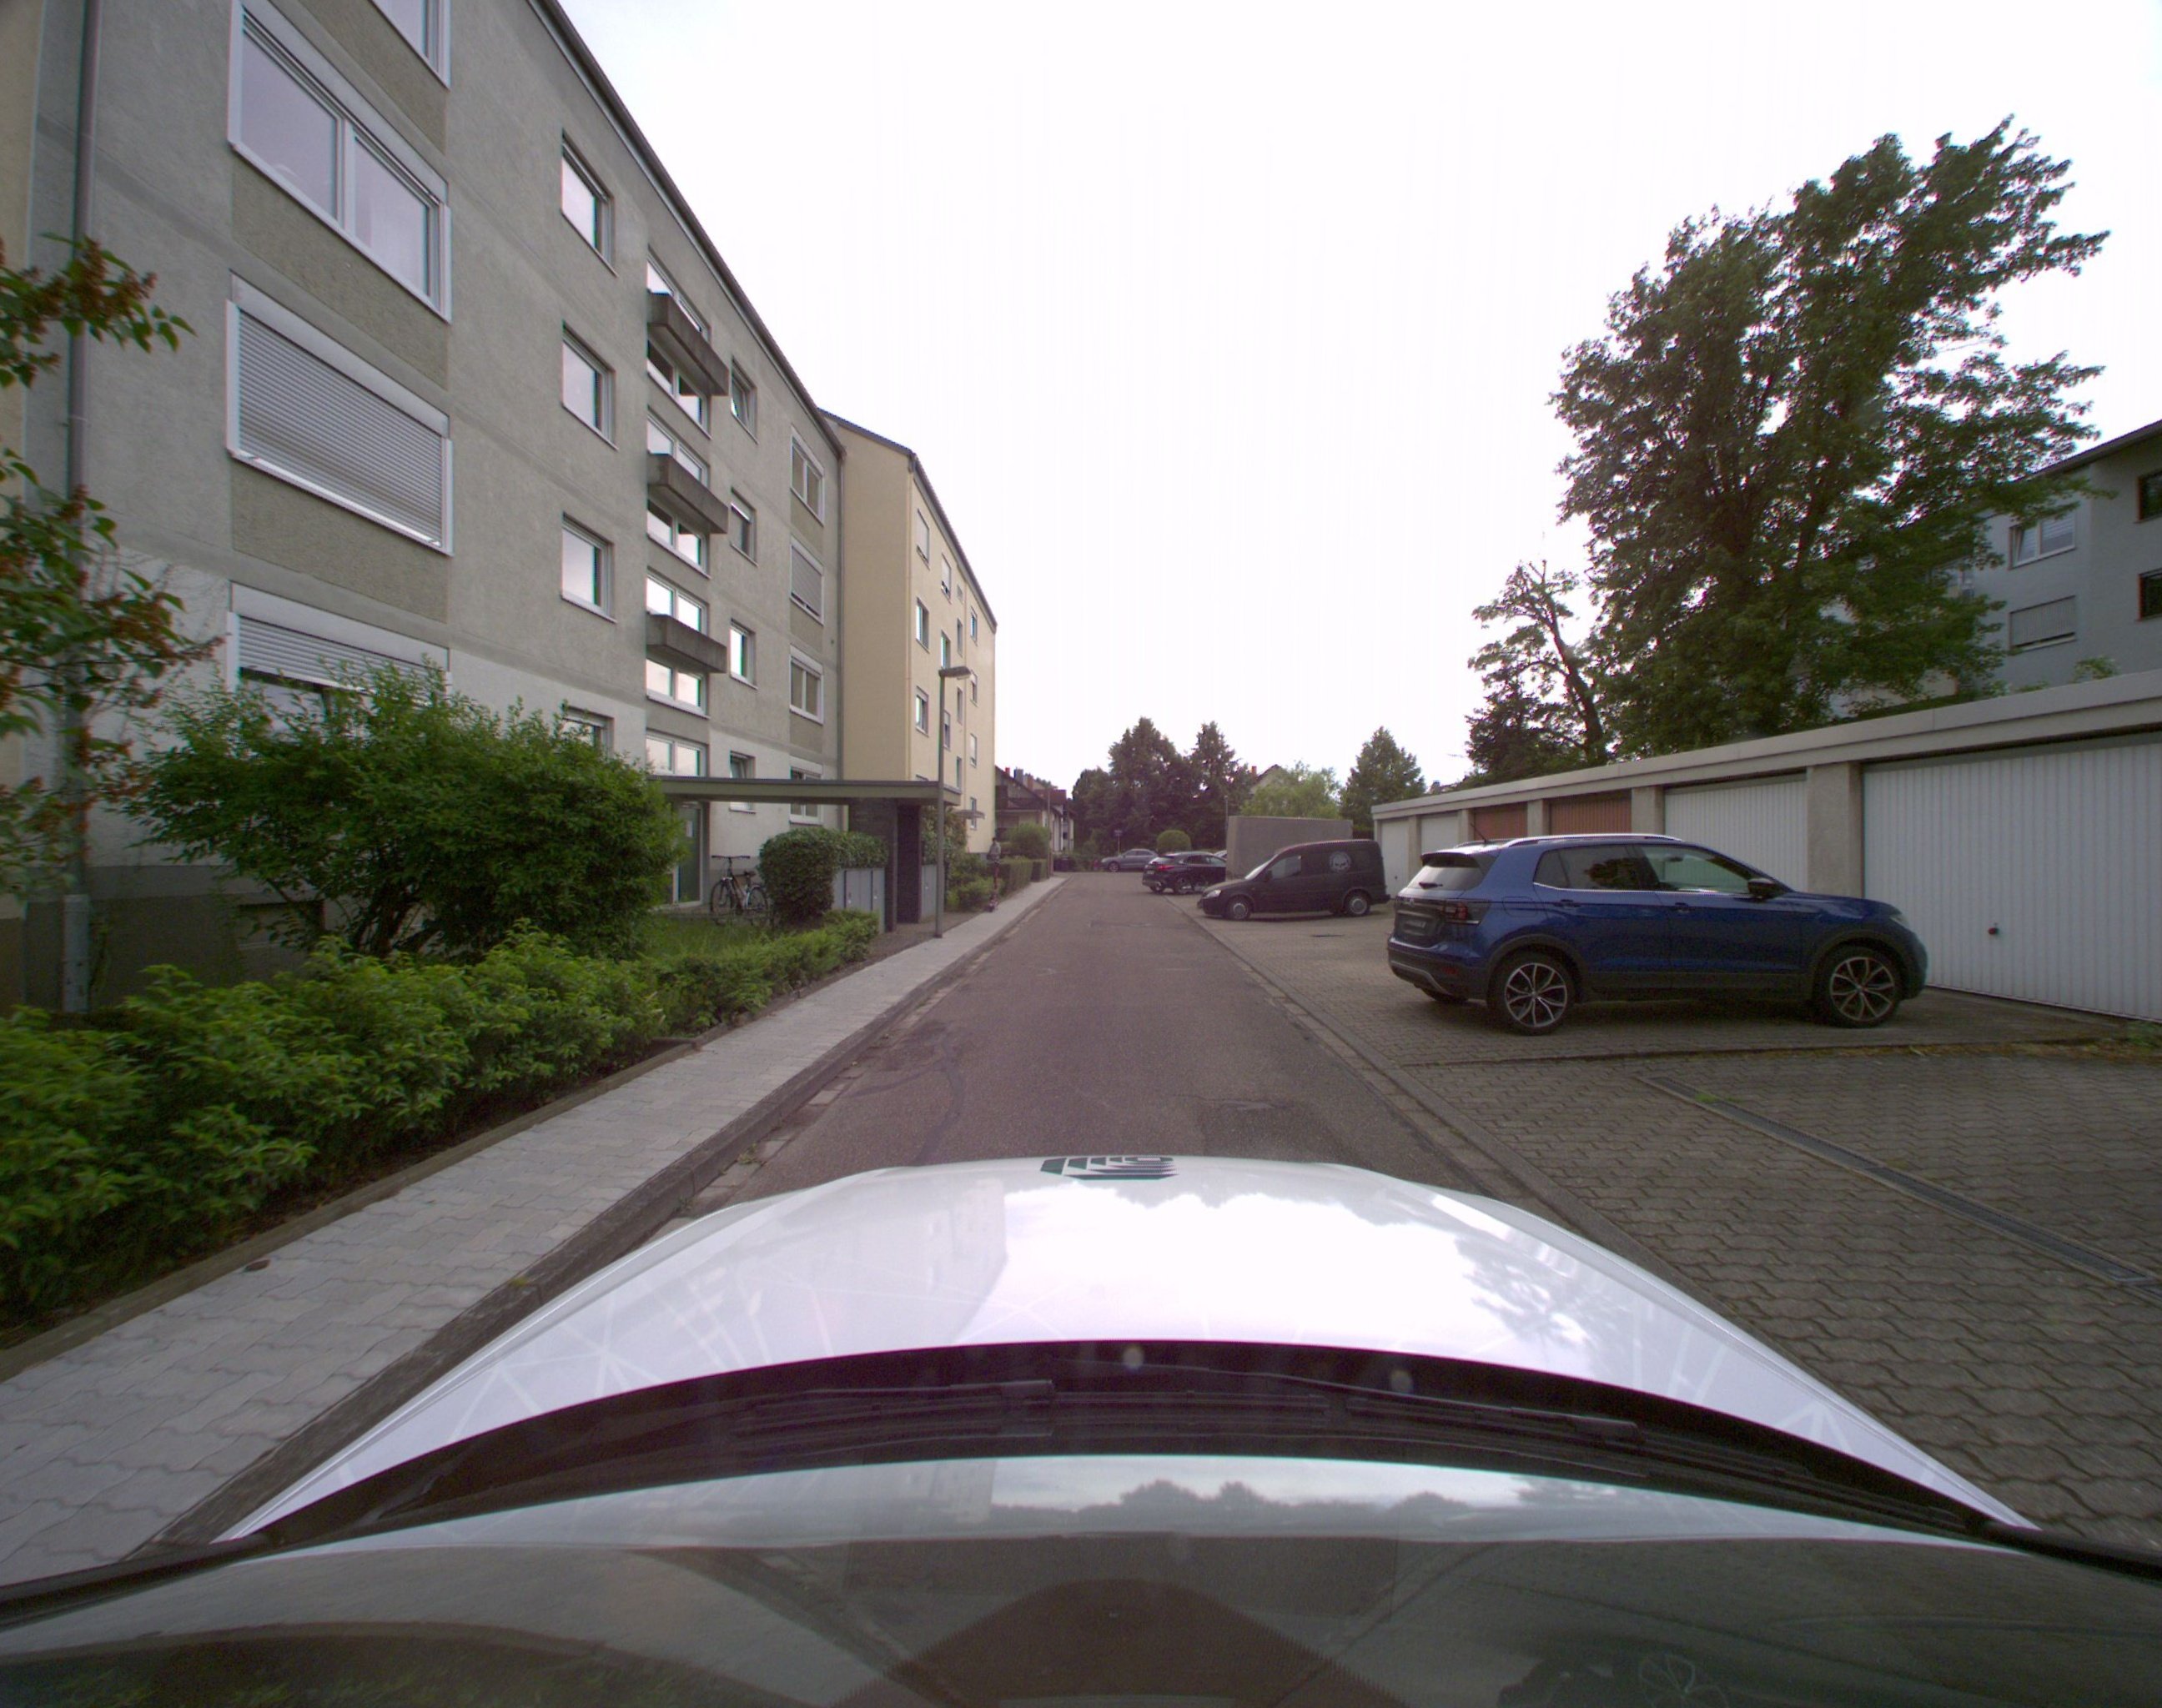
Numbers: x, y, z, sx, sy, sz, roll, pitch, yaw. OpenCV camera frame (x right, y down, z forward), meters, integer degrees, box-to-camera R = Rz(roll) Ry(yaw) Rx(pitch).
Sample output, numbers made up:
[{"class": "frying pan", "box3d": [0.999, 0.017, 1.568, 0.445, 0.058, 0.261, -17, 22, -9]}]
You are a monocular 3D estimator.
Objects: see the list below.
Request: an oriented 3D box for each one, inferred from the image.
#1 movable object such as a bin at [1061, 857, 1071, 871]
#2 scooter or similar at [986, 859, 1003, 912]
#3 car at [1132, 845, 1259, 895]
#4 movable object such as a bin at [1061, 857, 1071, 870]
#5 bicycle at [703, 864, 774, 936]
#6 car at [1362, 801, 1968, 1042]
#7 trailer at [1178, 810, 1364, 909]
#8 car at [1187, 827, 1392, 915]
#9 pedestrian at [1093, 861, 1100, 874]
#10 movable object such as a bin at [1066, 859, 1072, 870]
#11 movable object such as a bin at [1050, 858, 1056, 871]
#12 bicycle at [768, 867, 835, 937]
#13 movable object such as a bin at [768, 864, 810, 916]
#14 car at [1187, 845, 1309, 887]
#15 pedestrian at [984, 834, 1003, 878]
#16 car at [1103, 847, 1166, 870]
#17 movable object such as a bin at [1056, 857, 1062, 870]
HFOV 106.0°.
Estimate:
[{"class": "movable object such as a bin", "box3d": [-1.055, 0.682, 57.611, 0.636, 0.953, 0.723, 1, 0, 0]}, {"class": "scooter or similar", "box3d": [-2.082, 0.741, 19.718, 0.272, 1.211, 1.165, 0, 1, 1]}, {"class": "car", "box3d": [4.083, 0.528, 29.158, 4.001, 1.552, 1.987, -2, 0, -20]}, {"class": "movable object such as a bin", "box3d": [-1.081, 0.682, 58.339, 0.731, 0.953, 0.584, 1, 0, 1]}, {"class": "bicycle", "box3d": [-5.415, 0.703, 12.942, 0.372, 1.034, 1.547, 2, 0, 3]}, {"class": "car", "box3d": [4.867, 0.516, 7.304, 3.973, 1.703, 2.000, -2, 0, 0]}, {"class": "trailer", "box3d": [5.007, 0.143, 21.975, 4.592, 2.525, 1.943, 0, 0, 1]}, {"class": "car", "box3d": [4.783, 0.375, 19.208, 4.296, 1.802, 2.000, -2, 0, 0]}, {"class": "pedestrian", "box3d": [1.759, 1.538, 91.684, 0.812, 1.517, 0.438, 0, -1, -1]}, {"class": "movable object such as a bin", "box3d": [-0.872, 0.791, 59.533, 0.458, 0.797, 0.379, 1, 0, -1]}, {"class": "movable object such as a bin", "box3d": [-2.046, 0.745, 59.235, 0.385, 0.901, 0.379, 1, 0, -1]}, {"class": "bicycle", "box3d": [-4.534, 0.751, 13.287, 0.452, 1.034, 1.547, 2, 0, 3]}, {"class": "movable object such as a bin", "box3d": [-5.842, 0.709, 16.284, 0.531, 1.019, 0.583, 0, 0, 23]}, {"class": "car", "box3d": [6.569, 0.453, 32.403, 4.518, 1.588, 1.990, 0, 0, 3]}, {"class": "pedestrian", "box3d": [-3.541, 0.089, 33.032, 0.677, 1.749, 0.756, 1, 0, 0]}, {"class": "car", "box3d": [3.579, 0.293, 55.352, 4.222, 1.531, 1.747, 0, -2, 1]}, {"class": "movable object such as a bin", "box3d": [-1.606, 0.688, 59.244, 0.385, 0.889, 0.379, 1, 0, -1]}]
